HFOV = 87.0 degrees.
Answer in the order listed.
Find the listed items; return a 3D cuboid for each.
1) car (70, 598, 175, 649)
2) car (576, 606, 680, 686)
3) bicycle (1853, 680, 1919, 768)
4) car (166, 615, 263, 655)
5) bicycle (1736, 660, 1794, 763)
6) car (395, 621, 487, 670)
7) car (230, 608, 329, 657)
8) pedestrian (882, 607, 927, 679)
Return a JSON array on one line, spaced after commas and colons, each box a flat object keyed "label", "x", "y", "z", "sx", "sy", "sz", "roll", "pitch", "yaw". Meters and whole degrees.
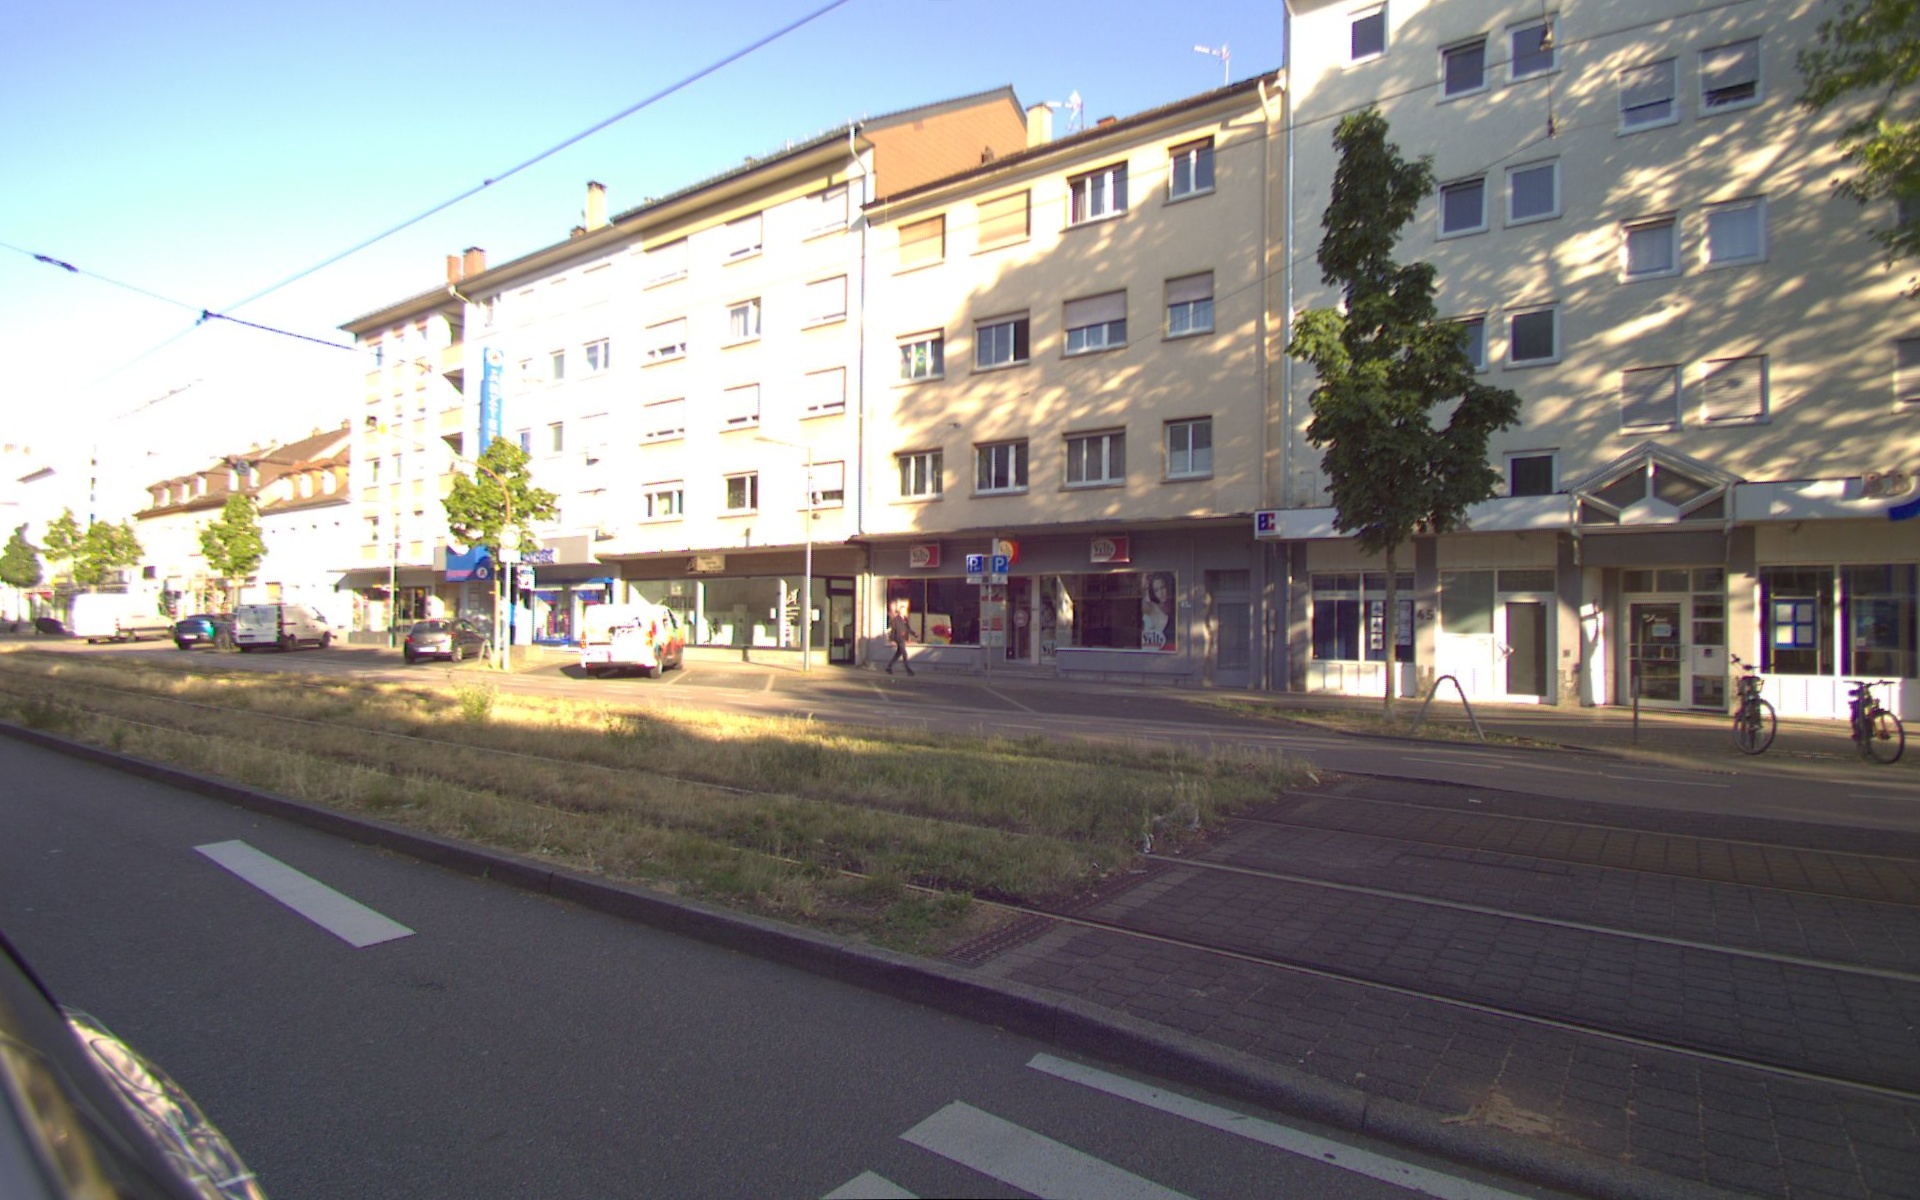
[{"label": "car", "x": -45.438, "y": 1.218, "z": 55.110, "sx": 1.895, "sy": 2.634, "sz": 6.608, "roll": 0, "pitch": 0, "yaw": -16}, {"label": "car", "x": -8.783, "y": 1.151, "z": 27.121, "sx": 1.830, "sy": 1.913, "sz": 4.005, "roll": 0, "pitch": 0, "yaw": -6}, {"label": "bicycle", "x": 11.380, "y": 1.489, "z": 12.423, "sx": 0.471, "sy": 0.895, "sz": 1.724, "roll": -1, "pitch": -1, "yaw": 36}, {"label": "car", "x": -34.173, "y": 1.559, "z": 46.526, "sx": 1.830, "sy": 1.727, "sz": 3.919, "roll": 0, "pitch": 0, "yaw": -4}, {"label": "bicycle", "x": 10.299, "y": 1.386, "z": 12.979, "sx": 0.511, "sy": 1.147, "sz": 1.724, "roll": -1, "pitch": -1, "yaw": 36}, {"label": "car", "x": -17.510, "y": 1.500, "z": 34.331, "sx": 1.708, "sy": 1.508, "sz": 4.009, "roll": 0, "pitch": 0, "yaw": -10}, {"label": "car", "x": -28.639, "y": 1.307, "z": 42.759, "sx": 1.828, "sy": 1.952, "sz": 4.514, "roll": 0, "pitch": 0, "yaw": -10}, {"label": "pedestrian", "x": -1.465, "y": 1.107, "z": 26.527, "sx": 0.916, "sy": 1.841, "sz": 0.747, "roll": -1, "pitch": -1, "yaw": 41}]
